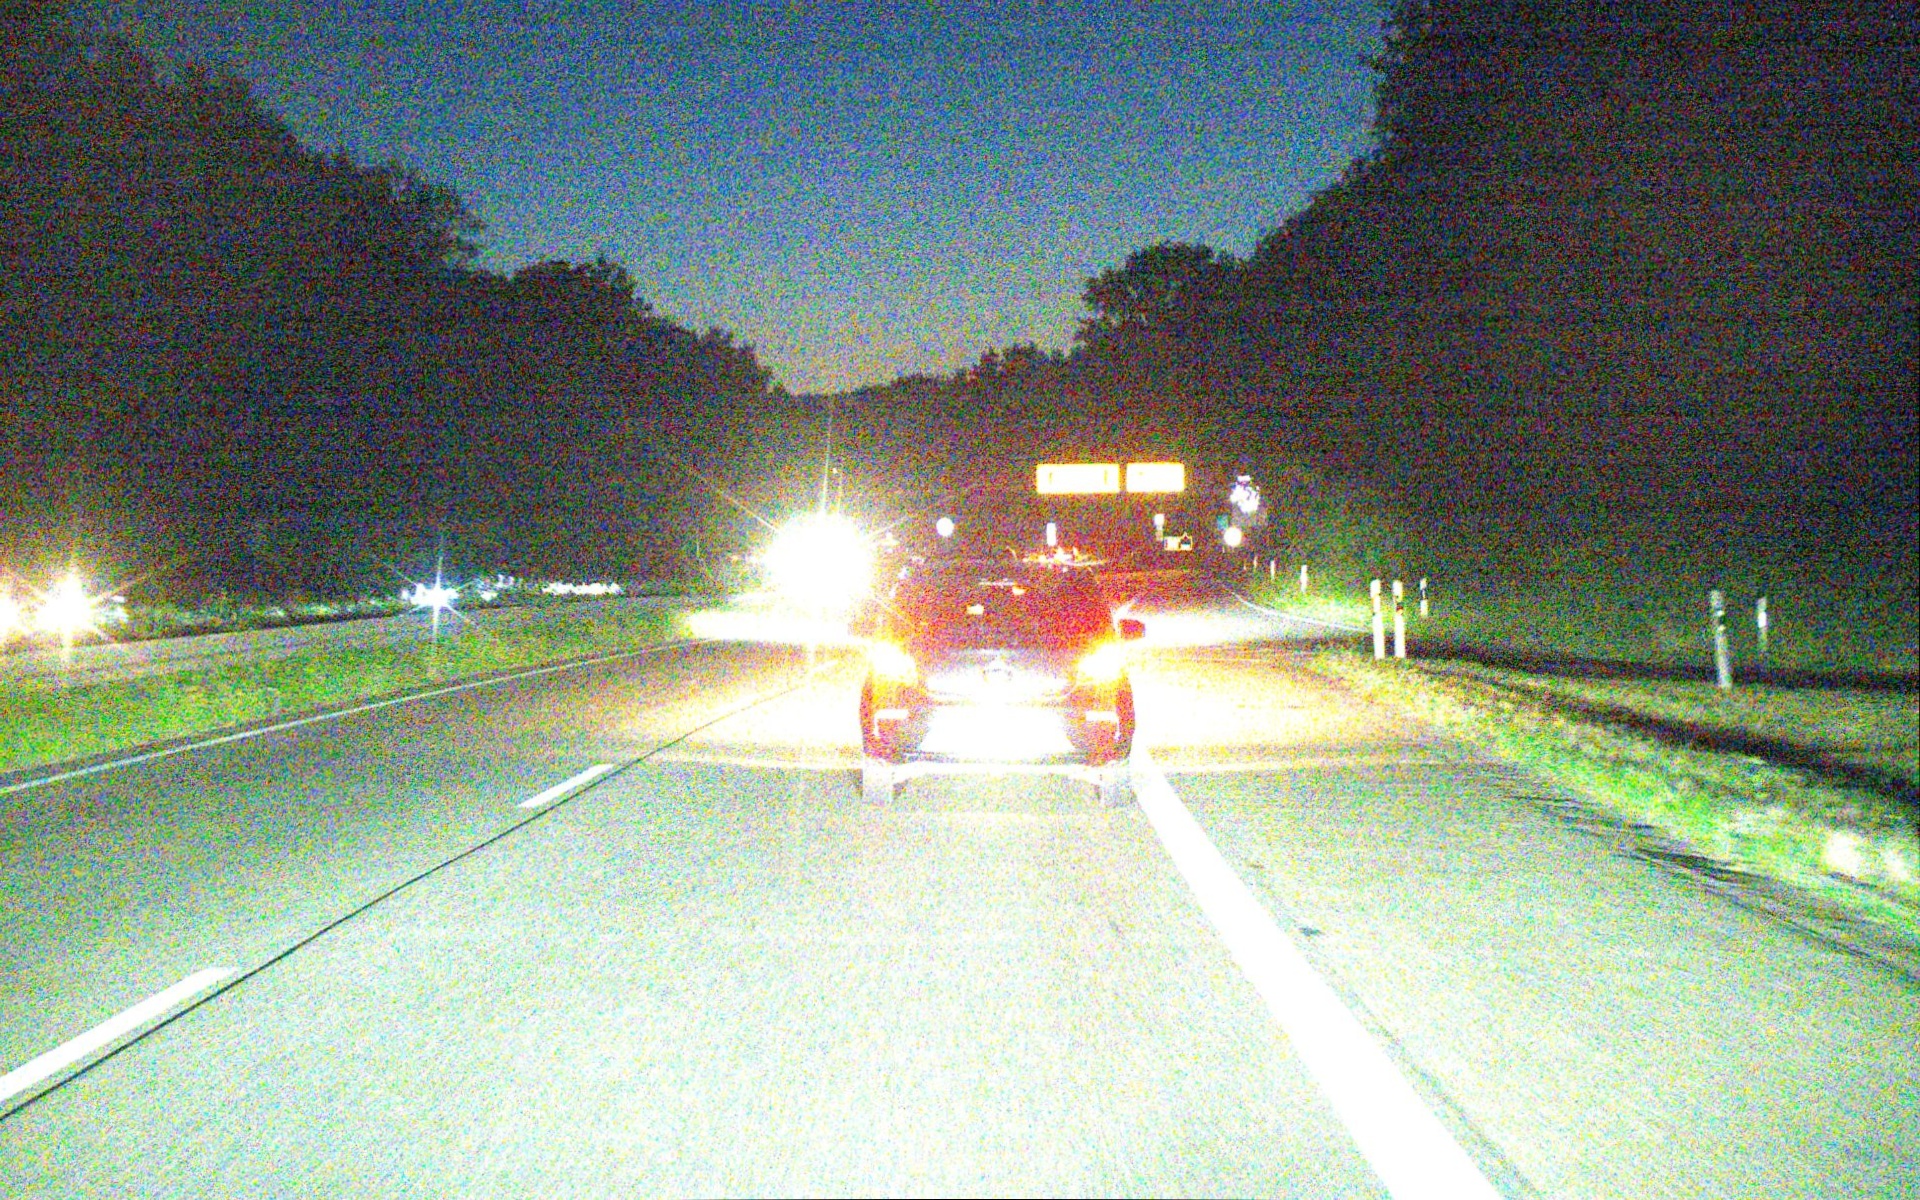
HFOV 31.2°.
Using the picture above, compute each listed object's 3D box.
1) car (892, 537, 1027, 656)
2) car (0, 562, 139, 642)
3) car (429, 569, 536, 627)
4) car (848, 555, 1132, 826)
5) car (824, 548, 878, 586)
[{"bbox_3d":[0.025,-0.090,51.408,1.906,1.692,4.000,0,1,2],"label":"car"},{"bbox_3d":[-17.601,0.024,66.820,1.958,1.452,4.169,-2,1,5],"label":"car"},{"bbox_3d":[-13.067,-0.067,94.370,1.958,1.452,4.470,-2,1,5],"label":"car"},{"bbox_3d":[0.107,0.495,21.718,1.588,1.503,4.000,1,1,-2],"label":"car"},{"bbox_3d":[-5.183,-1.576,163.736,1.958,1.727,5.078,-2,1,5],"label":"car"}]
